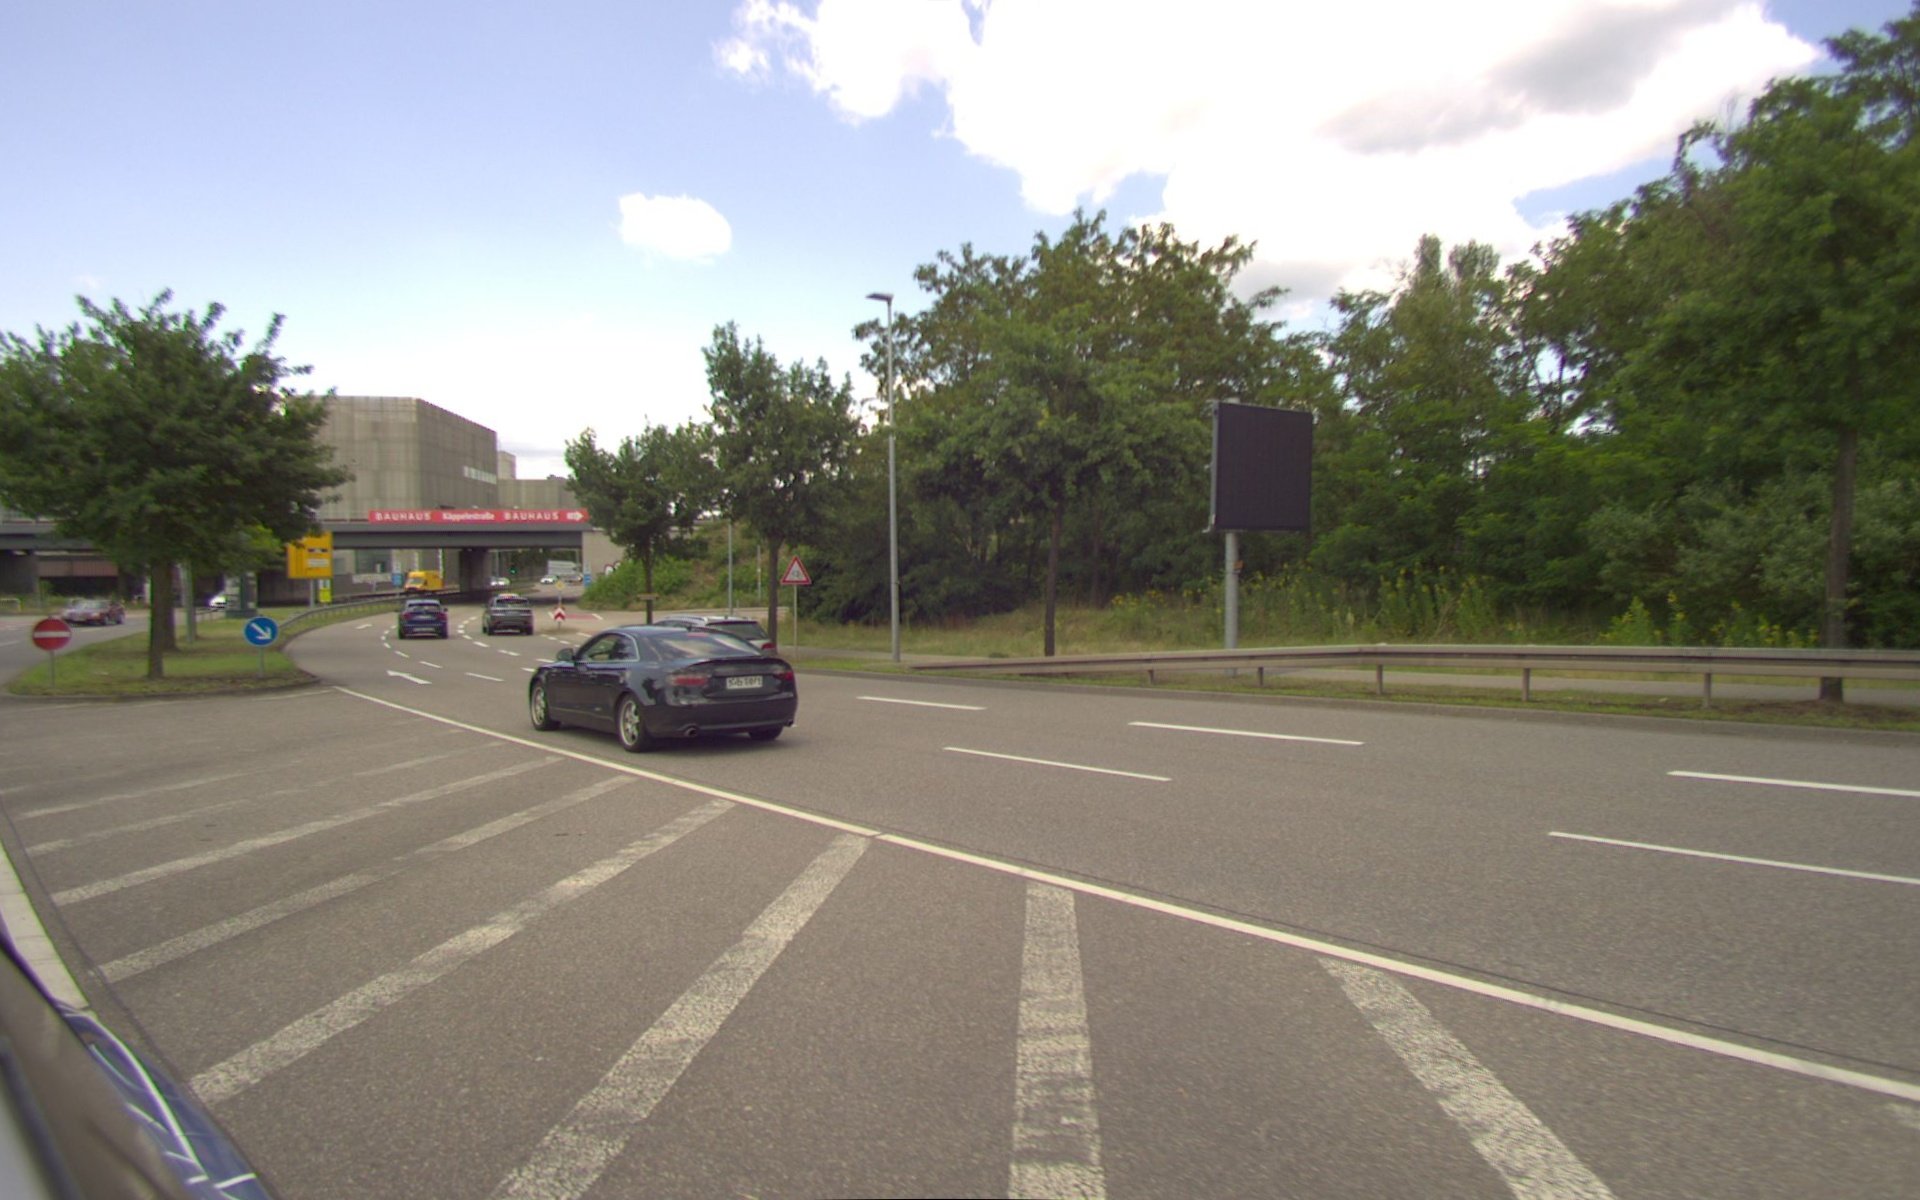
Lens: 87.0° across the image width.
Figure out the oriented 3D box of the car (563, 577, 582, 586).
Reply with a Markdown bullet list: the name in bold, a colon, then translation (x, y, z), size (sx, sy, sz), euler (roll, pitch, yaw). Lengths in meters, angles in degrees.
- **car**: translation (-63.141, -3.046, 165.027), size (1.968, 1.425, 4.843), euler (-2, 2, -10)

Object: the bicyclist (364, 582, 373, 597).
- **bicyclist**: translation (-72.656, -1.257, 124.370), size (0.705, 1.782, 0.991), euler (-1, 2, -13)

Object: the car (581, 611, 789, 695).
- **car**: translation (-5.473, 0.959, 19.750), size (1.970, 1.407, 4.704), euler (-1, 0, -42)

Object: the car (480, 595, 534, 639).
- **car**: translation (-21.351, 0.744, 47.612), size (1.966, 1.875, 4.730), euler (-1, 1, -28)

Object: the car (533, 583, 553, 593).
- **car**: translation (-65.481, -1.853, 158.926), size (1.890, 1.425, 4.305), euler (-3, 3, -10)

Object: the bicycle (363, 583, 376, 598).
- **bicycle**: translation (-72.705, -1.205, 124.576), size (0.710, 1.787, 2.541), euler (-1, 2, -13)

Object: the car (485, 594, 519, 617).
- **car**: translation (-32.906, 0.375, 72.650), size (1.965, 1.543, 4.346), euler (1, 1, -28)

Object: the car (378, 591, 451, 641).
- **car**: translation (-23.661, 0.708, 43.833), size (1.968, 2.029, 4.827), euler (-2, 0, -38)

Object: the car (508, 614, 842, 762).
- **car**: translation (-3.534, 0.879, 11.973), size (1.881, 1.374, 4.579), euler (1, -1, -44)

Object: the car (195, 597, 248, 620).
- **car**: translation (-54.199, 0.627, 74.319), size (1.687, 1.507, 3.658), euler (0, 2, -10)

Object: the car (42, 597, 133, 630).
- **car**: translation (-49.099, 0.722, 57.085), size (1.967, 1.568, 4.293), euler (-2, 3, -11)

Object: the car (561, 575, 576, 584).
- **car**: translation (-67.123, -3.470, 173.421), size (1.755, 1.507, 3.606), euler (0, 2, -10)
